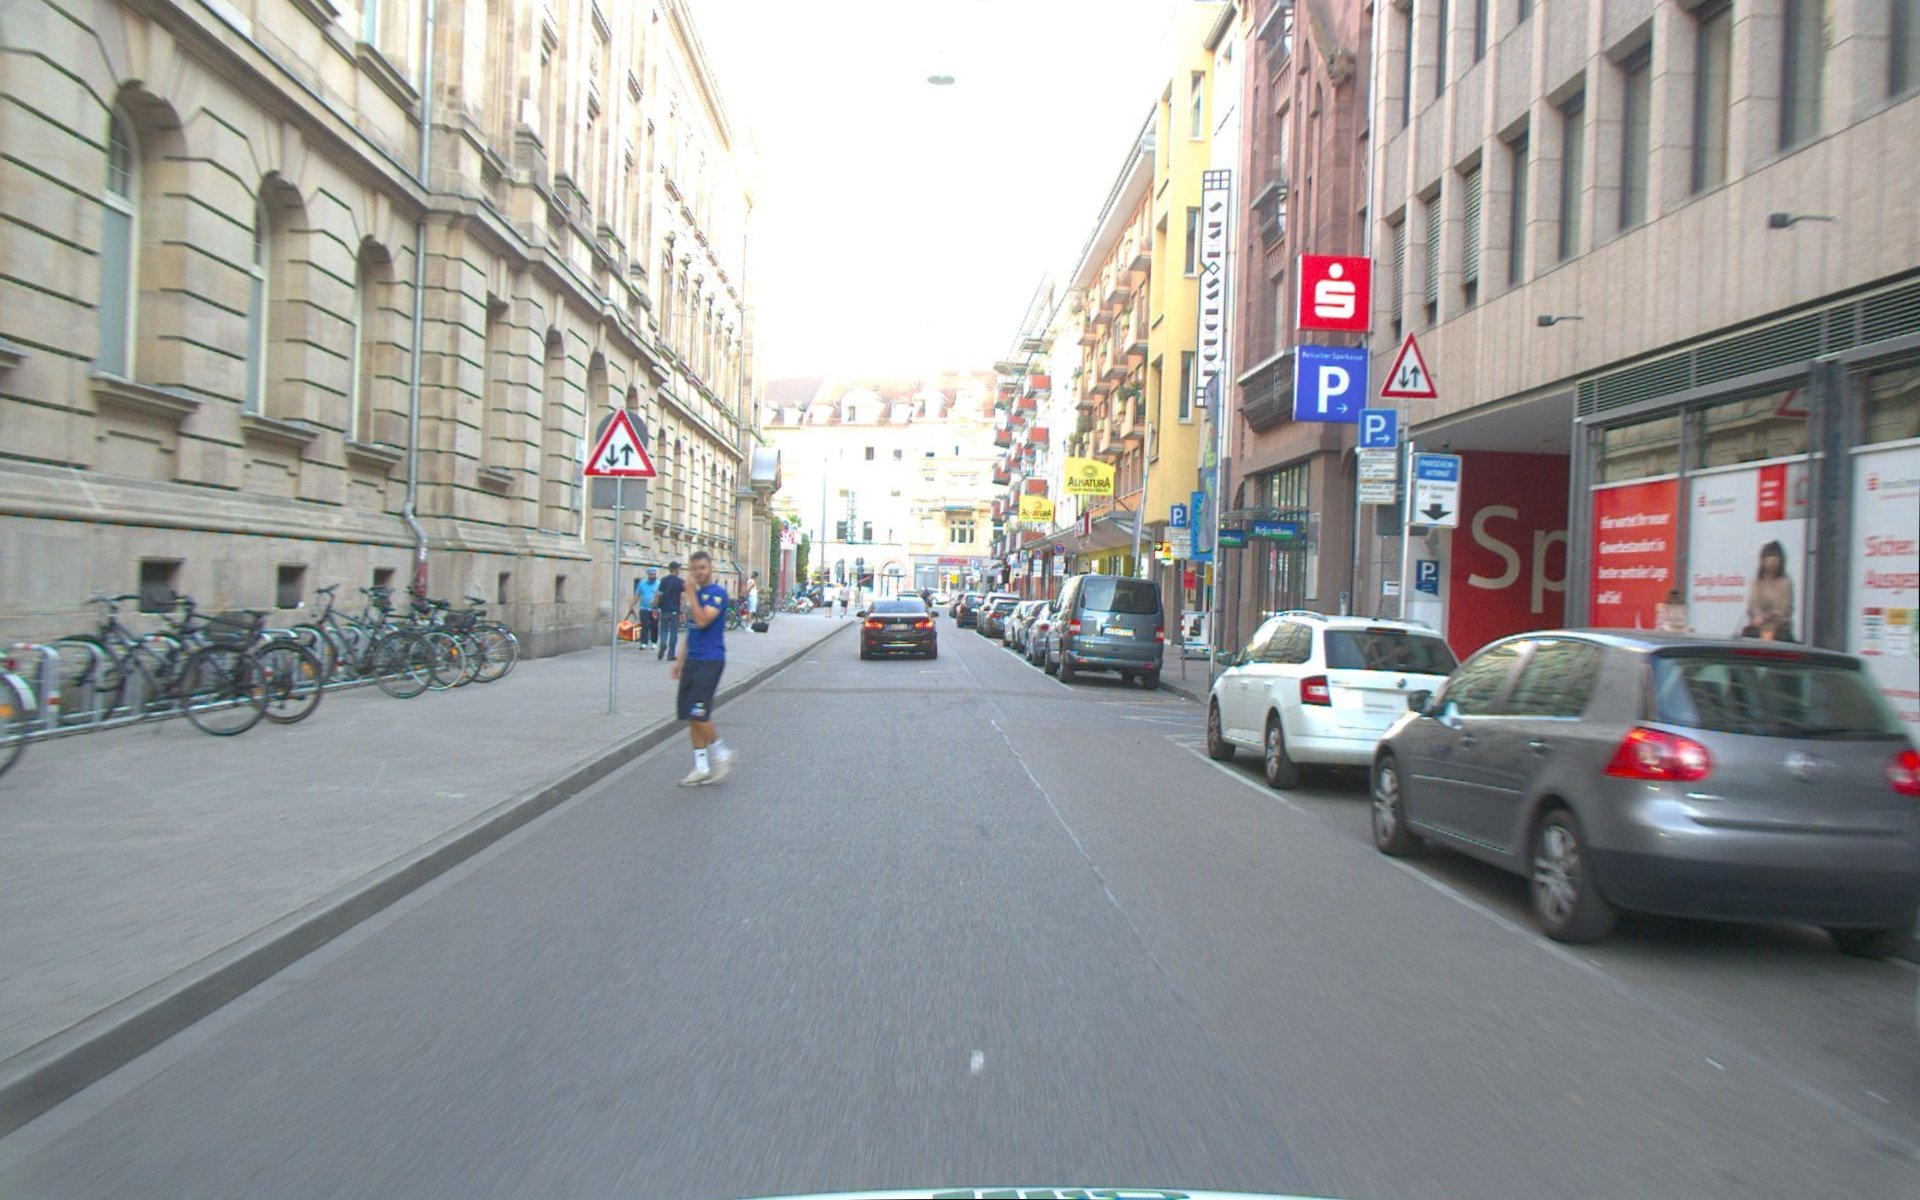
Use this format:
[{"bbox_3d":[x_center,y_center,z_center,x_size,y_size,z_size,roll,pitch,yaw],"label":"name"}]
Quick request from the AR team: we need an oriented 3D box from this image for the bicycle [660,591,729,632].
[{"bbox_3d":[-7.671,0.326,47.831,1.901,1.080,0.618,3,-1,-8],"label":"bicycle"}]

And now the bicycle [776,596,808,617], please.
[{"bbox_3d":[-9.576,0.351,94.337,1.758,1.127,0.500,2,0,-2],"label":"bicycle"}]

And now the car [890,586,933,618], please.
[{"bbox_3d":[-2.345,0.069,80.836,1.838,1.498,4.001,1,1,2],"label":"car"}]

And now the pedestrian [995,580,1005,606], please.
[{"bbox_3d":[2.678,-0.468,112.093,0.635,1.690,0.655,-1,0,0],"label":"pedestrian"}]

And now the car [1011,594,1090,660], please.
[{"bbox_3d":[2.382,0.679,44.419,1.586,1.542,4.171,4,1,-3],"label":"car"}]

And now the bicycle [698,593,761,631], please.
[{"bbox_3d":[-7.385,0.386,53.120,1.899,1.080,0.619,3,-1,-4],"label":"bicycle"}]

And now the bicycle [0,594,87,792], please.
[{"bbox_3d":[-6.303,0.483,9.687,1.900,1.097,0.729,4,-1,-6],"label":"bicycle"}]

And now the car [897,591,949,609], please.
[{"bbox_3d":[-3.334,0.005,150.068,4.262,1.589,1.869,1,-1,21],"label":"car"}]

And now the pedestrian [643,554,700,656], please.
[{"bbox_3d":[-5.241,0.099,30.117,0.793,1.781,0.969,3,-1,-2],"label":"pedestrian"}]

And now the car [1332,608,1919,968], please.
[{"bbox_3d":[3.562,0.833,9.342,1.624,1.473,4.442,3,0,-4],"label":"car"}]

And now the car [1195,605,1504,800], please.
[{"bbox_3d":[3.407,0.820,15.312,1.623,1.473,4.306,3,0,-3],"label":"car"}]

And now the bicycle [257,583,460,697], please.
[{"bbox_3d":[-6.507,0.428,17.987,1.901,1.097,0.729,4,-1,-9],"label":"bicycle"}]

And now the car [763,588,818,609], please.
[{"bbox_3d":[-12.673,-0.112,123.712,3.914,1.527,1.887,1,0,-10],"label":"car"}]

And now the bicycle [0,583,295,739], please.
[{"bbox_3d":[-6.426,0.477,13.174,1.901,1.097,0.729,4,-1,-9],"label":"bicycle"}]

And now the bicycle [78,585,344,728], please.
[{"bbox_3d":[-6.463,0.485,14.362,1.901,1.097,0.729,4,-1,-9],"label":"bicycle"}]

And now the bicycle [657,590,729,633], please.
[{"bbox_3d":[-7.515,0.322,46.589,1.899,1.080,0.619,3,-1,-3],"label":"bicycle"}]

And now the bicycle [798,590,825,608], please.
[{"bbox_3d":[-10.261,-0.073,114.399,1.760,1.127,0.499,3,0,-7],"label":"bicycle"}]

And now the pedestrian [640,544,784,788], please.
[{"bbox_3d":[-1.938,0.488,12.919,0.814,1.820,0.766,1,0,-44],"label":"pedestrian"}]

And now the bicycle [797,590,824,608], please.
[{"bbox_3d":[-10.257,-0.069,113.650,1.757,1.127,0.500,3,0,0],"label":"bicycle"}]

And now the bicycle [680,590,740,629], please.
[{"bbox_3d":[-7.748,0.297,51.249,1.760,1.127,0.499,3,-1,-8],"label":"bicycle"}]

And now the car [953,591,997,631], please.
[{"bbox_3d":[0.716,0.485,76.608,1.757,1.637,4.488,4,1,2],"label":"car"}]

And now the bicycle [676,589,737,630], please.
[{"bbox_3d":[-7.656,0.287,50.052,1.761,1.127,0.499,3,-1,-8],"label":"bicycle"}]

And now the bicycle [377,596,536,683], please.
[{"bbox_3d":[-6.754,0.525,22.251,1.898,1.064,0.721,3,0,-7],"label":"bicycle"}]

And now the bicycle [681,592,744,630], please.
[{"bbox_3d":[-7.771,0.347,52.062,1.901,1.080,0.618,3,-1,-8],"label":"bicycle"}]

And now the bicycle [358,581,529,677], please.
[{"bbox_3d":[-6.641,0.368,21.336,1.899,1.097,0.747,4,-1,-3],"label":"bicycle"}]

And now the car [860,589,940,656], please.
[{"bbox_3d":[-1.407,0.493,39.459,1.729,1.399,4.789,2,1,-1],"label":"car"}]

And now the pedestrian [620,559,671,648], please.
[{"bbox_3d":[-6.559,0.065,34.517,0.812,1.776,0.768,4,0,-2],"label":"pedestrian"}]

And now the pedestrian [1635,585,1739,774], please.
[{"bbox_3d":[6.552,0.697,14.926,0.635,1.664,0.650,0,0,-3],"label":"pedestrian"}]

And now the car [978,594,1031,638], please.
[{"bbox_3d":[1.648,0.585,62.422,1.657,1.439,4.755,4,1,-1],"label":"car"}]

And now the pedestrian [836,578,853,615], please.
[{"bbox_3d":[-6.167,-0.208,88.322,0.729,1.926,1.050,3,0,-1],"label":"pedestrian"}]

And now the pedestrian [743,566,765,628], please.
[{"bbox_3d":[-6.403,-0.096,51.370,0.577,1.883,0.753,3,0,-8],"label":"pedestrian"}]

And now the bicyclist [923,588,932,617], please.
[{"bbox_3d":[-2.061,0.174,104.817,0.513,1.787,0.620,2,0,-1],"label":"bicyclist"}]

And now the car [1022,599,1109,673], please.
[{"bbox_3d":[2.443,0.807,39.306,1.653,1.478,4.497,4,1,-1],"label":"car"}]

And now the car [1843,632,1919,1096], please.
[{"bbox_3d":[3.936,0.881,3.807,1.623,1.473,3.868,3,0,-1],"label":"car"}]

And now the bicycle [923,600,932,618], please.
[{"bbox_3d":[-2.078,0.569,104.839,0.525,1.127,1.800,2,0,-1],"label":"bicycle"}]

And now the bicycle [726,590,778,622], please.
[{"bbox_3d":[-8.302,0.235,65.954,1.906,1.080,0.617,5,-1,-17],"label":"bicycle"}]

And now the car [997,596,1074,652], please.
[{"bbox_3d":[2.206,0.676,49.586,1.658,1.435,4.635,4,1,-5],"label":"car"}]

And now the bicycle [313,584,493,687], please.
[{"bbox_3d":[-6.729,0.426,20.066,1.901,1.097,0.729,4,-1,-9],"label":"bicycle"}]

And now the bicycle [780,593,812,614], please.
[{"bbox_3d":[-9.601,0.193,96.859,1.757,1.127,0.500,3,0,1],"label":"bicycle"}]

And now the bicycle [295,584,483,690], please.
[{"bbox_3d":[-6.635,0.425,19.298,1.901,1.097,0.729,4,-1,-9],"label":"bicycle"}]

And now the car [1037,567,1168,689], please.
[{"bbox_3d":[2.685,0.507,32.222,1.810,2.094,5.051,3,0,-3],"label":"car"}]

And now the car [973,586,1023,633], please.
[{"bbox_3d":[1.529,0.343,67.387,1.717,1.697,4.755,4,1,-1],"label":"car"}]

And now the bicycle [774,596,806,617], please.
[{"bbox_3d":[-9.714,0.352,94.677,1.758,1.127,0.500,2,0,-3],"label":"bicycle"}]

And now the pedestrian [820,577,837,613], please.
[{"bbox_3d":[-6.991,-0.286,88.072,0.726,1.844,1.008,4,0,-2],"label":"pedestrian"}]
